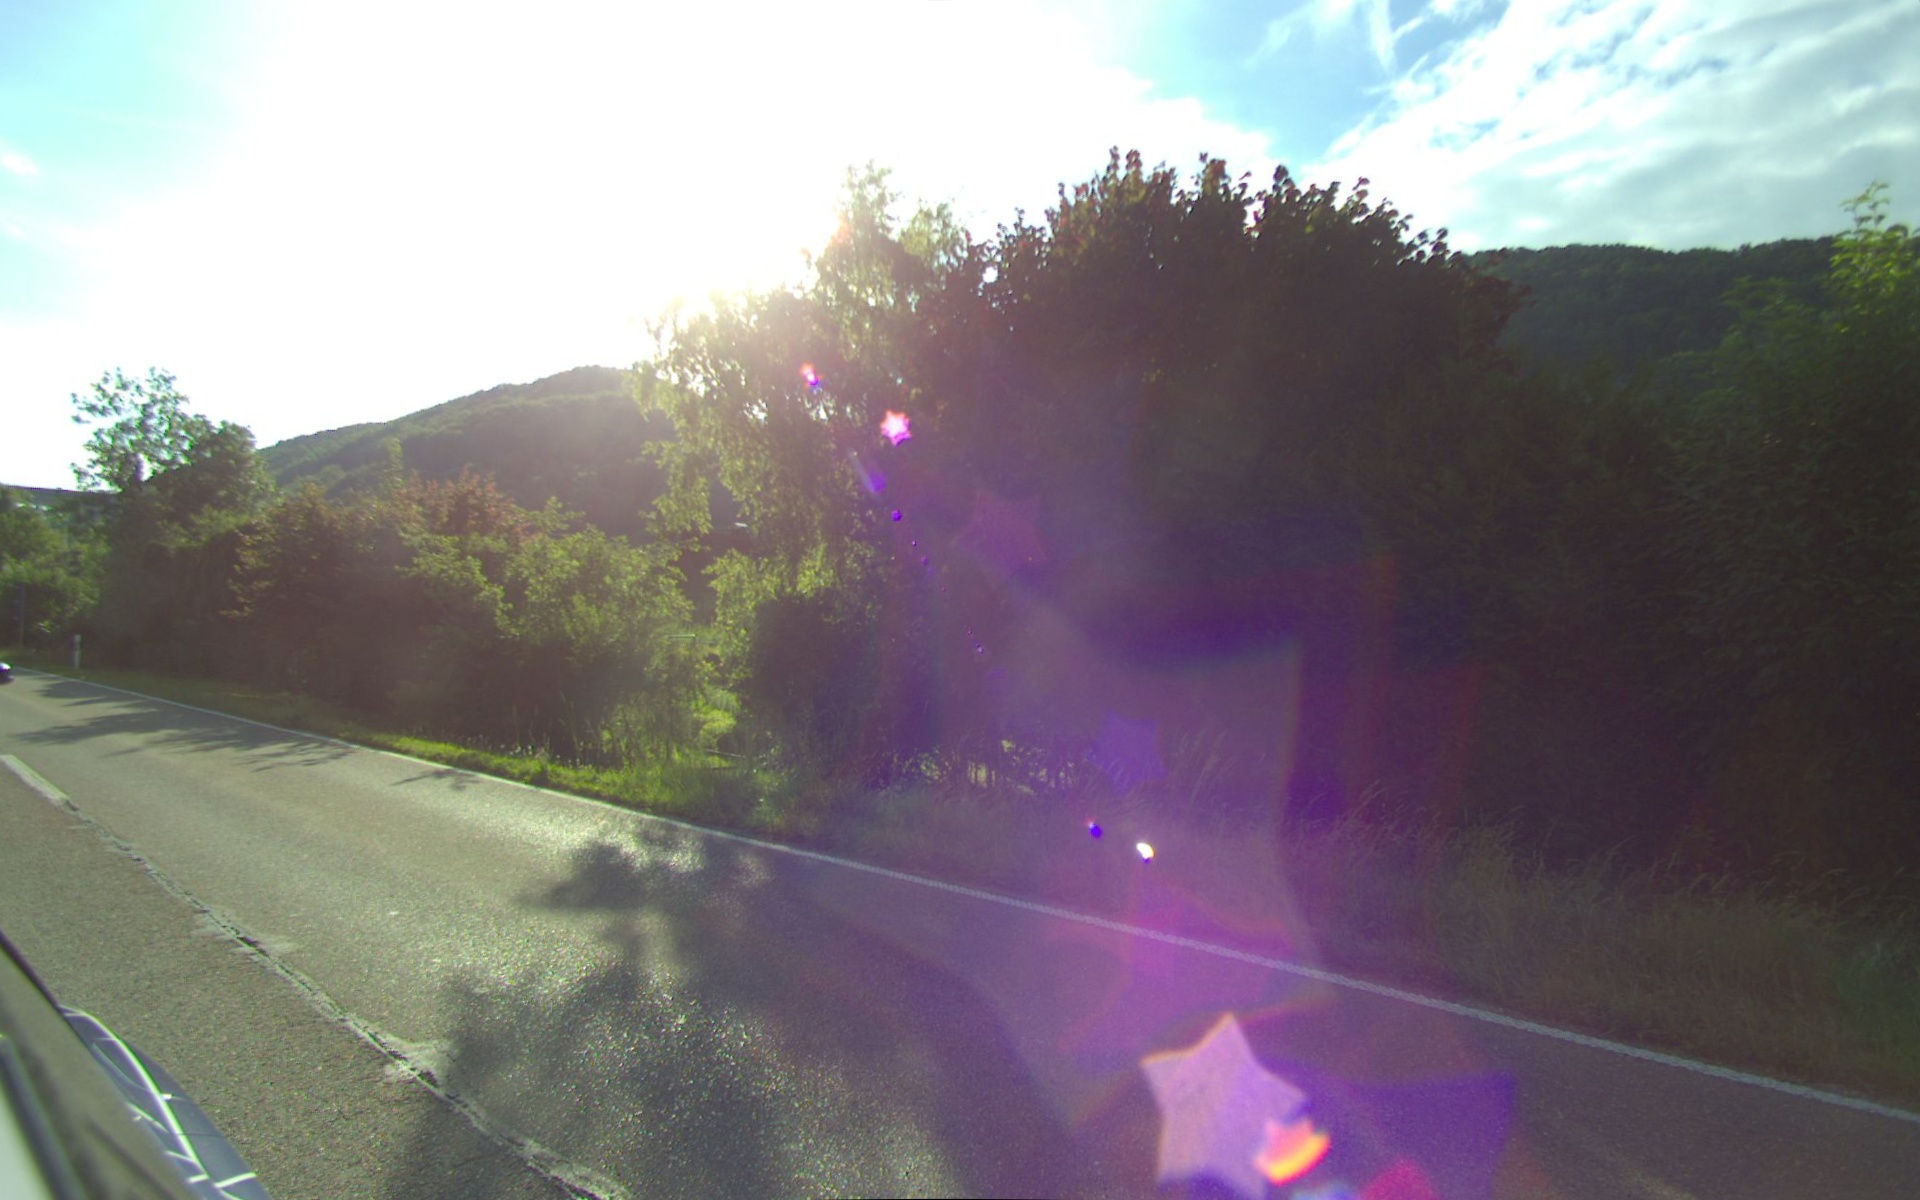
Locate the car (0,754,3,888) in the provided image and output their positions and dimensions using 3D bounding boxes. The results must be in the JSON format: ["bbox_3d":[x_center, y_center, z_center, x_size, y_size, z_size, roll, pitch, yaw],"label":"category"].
[{"bbox_3d":[-7.288,0.668,6.179,4.287,1.824,1.730,-1,0,42],"label":"car"}]
